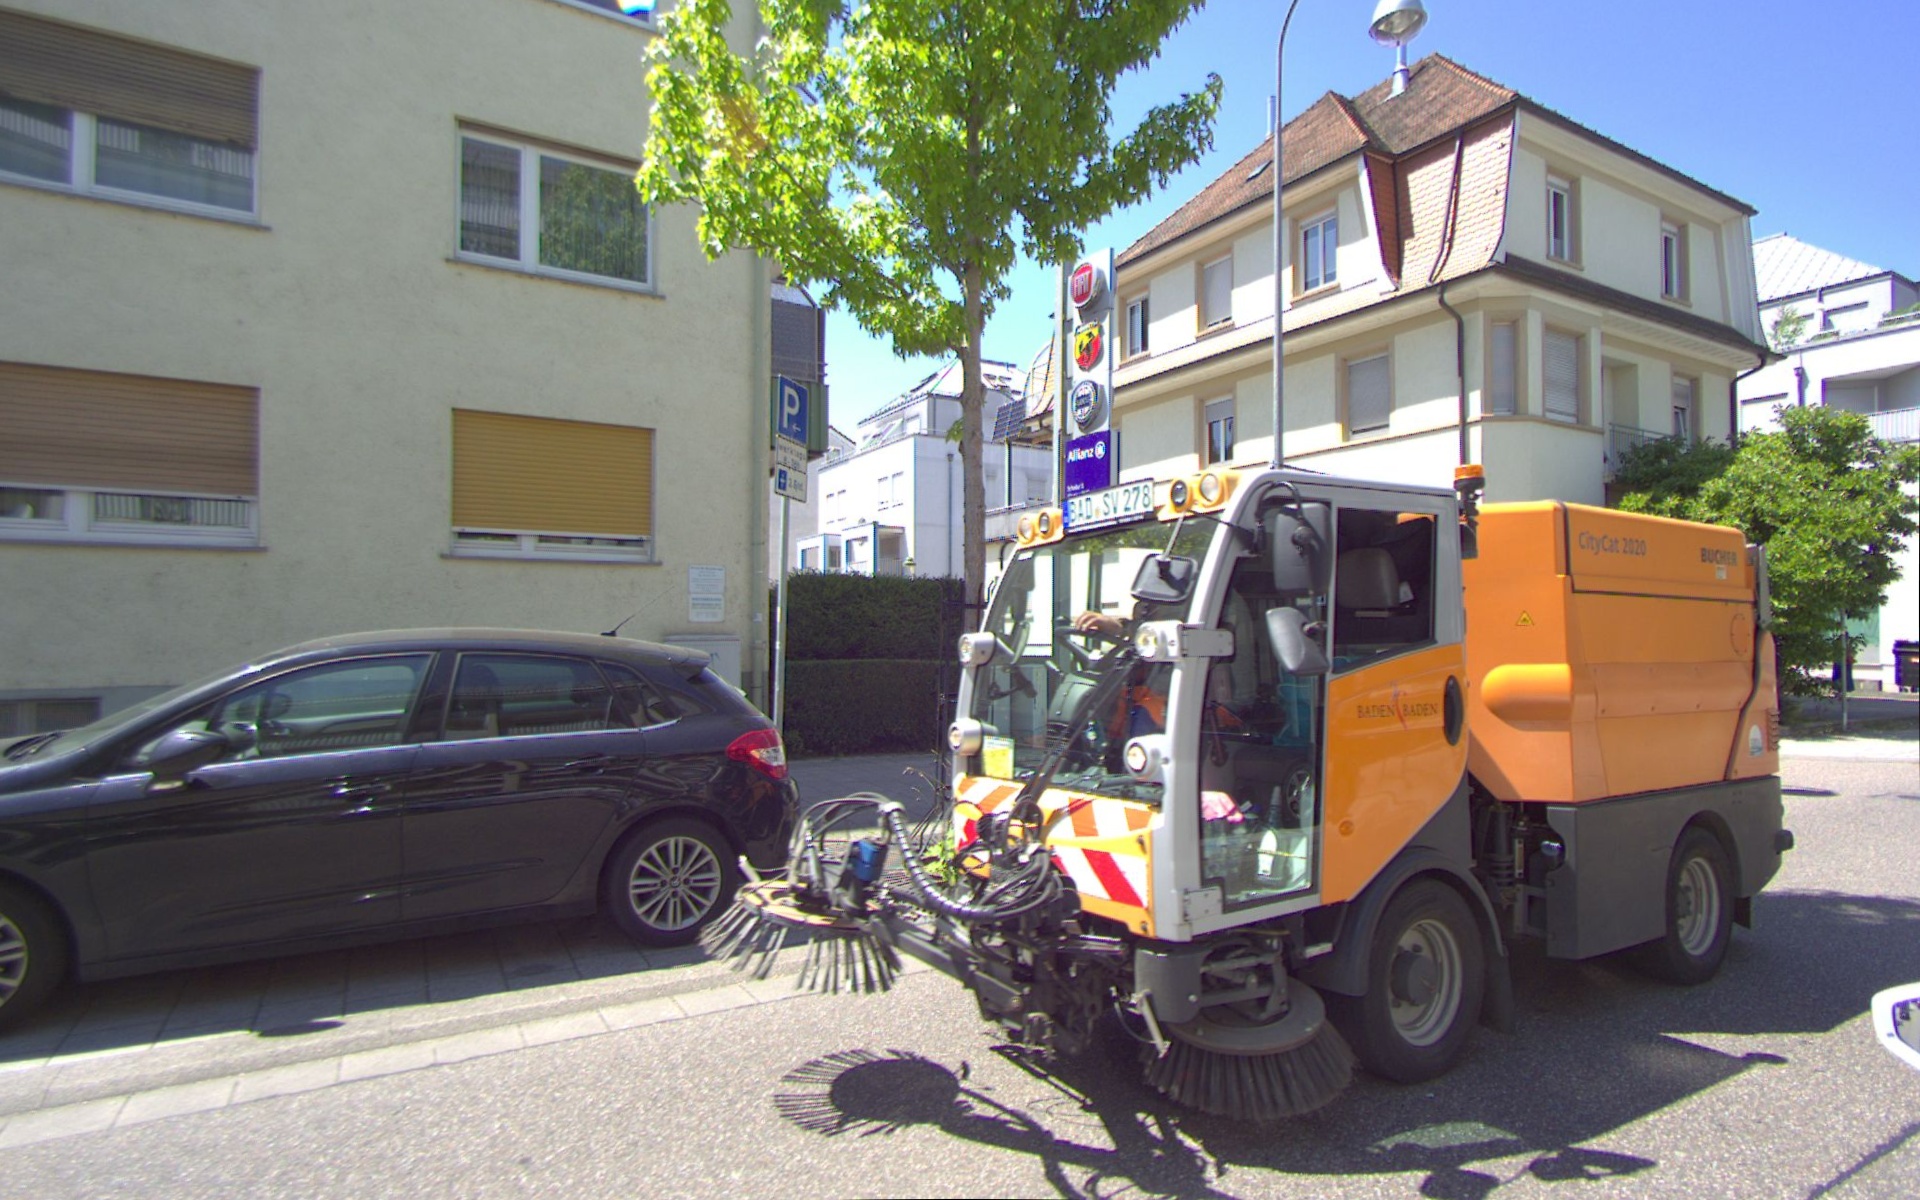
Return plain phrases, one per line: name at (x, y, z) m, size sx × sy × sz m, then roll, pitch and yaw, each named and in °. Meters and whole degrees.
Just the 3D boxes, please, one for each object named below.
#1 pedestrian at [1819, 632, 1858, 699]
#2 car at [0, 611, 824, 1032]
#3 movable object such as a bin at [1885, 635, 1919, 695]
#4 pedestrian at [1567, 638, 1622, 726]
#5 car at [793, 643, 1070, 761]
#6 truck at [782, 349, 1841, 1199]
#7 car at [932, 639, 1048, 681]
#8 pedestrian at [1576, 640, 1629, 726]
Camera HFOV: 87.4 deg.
pedestrian at (22.310, 1.655, 25.506) m, size 0.671 × 1.644 × 0.711 m, roll 1°, pitch -2°, yaw 44°
car at (-2.980, 0.834, 4.859) m, size 4.267 × 1.493 × 1.747 m, roll 2°, pitch -1°, yaw -28°
movable object such as a bin at (25.432, 1.696, 26.393) m, size 1.283 × 1.514 × 1.348 m, roll -1°, pitch -2°, yaw -34°
pedestrian at (10.394, 1.334, 16.452) m, size 0.589 × 1.389 × 0.691 m, roll -4°, pitch -2°, yaw 41°
car at (-0.434, 1.522, 16.036) m, size 3.953 × 1.520 × 1.984 m, roll -1°, pitch -2°, yaw -31°
truck at (1.739, 0.531, 4.423) m, size 4.660 × 2.145 × 1.796 m, roll 1°, pitch -3°, yaw -31°
car at (1.119, 2.159, 36.729) m, size 3.921 × 1.455 × 1.762 m, roll 2°, pitch -2°, yaw -32°
pedestrian at (10.878, 1.397, 17.001) m, size 0.589 × 1.389 × 0.691 m, roll -4°, pitch -2°, yaw 42°
